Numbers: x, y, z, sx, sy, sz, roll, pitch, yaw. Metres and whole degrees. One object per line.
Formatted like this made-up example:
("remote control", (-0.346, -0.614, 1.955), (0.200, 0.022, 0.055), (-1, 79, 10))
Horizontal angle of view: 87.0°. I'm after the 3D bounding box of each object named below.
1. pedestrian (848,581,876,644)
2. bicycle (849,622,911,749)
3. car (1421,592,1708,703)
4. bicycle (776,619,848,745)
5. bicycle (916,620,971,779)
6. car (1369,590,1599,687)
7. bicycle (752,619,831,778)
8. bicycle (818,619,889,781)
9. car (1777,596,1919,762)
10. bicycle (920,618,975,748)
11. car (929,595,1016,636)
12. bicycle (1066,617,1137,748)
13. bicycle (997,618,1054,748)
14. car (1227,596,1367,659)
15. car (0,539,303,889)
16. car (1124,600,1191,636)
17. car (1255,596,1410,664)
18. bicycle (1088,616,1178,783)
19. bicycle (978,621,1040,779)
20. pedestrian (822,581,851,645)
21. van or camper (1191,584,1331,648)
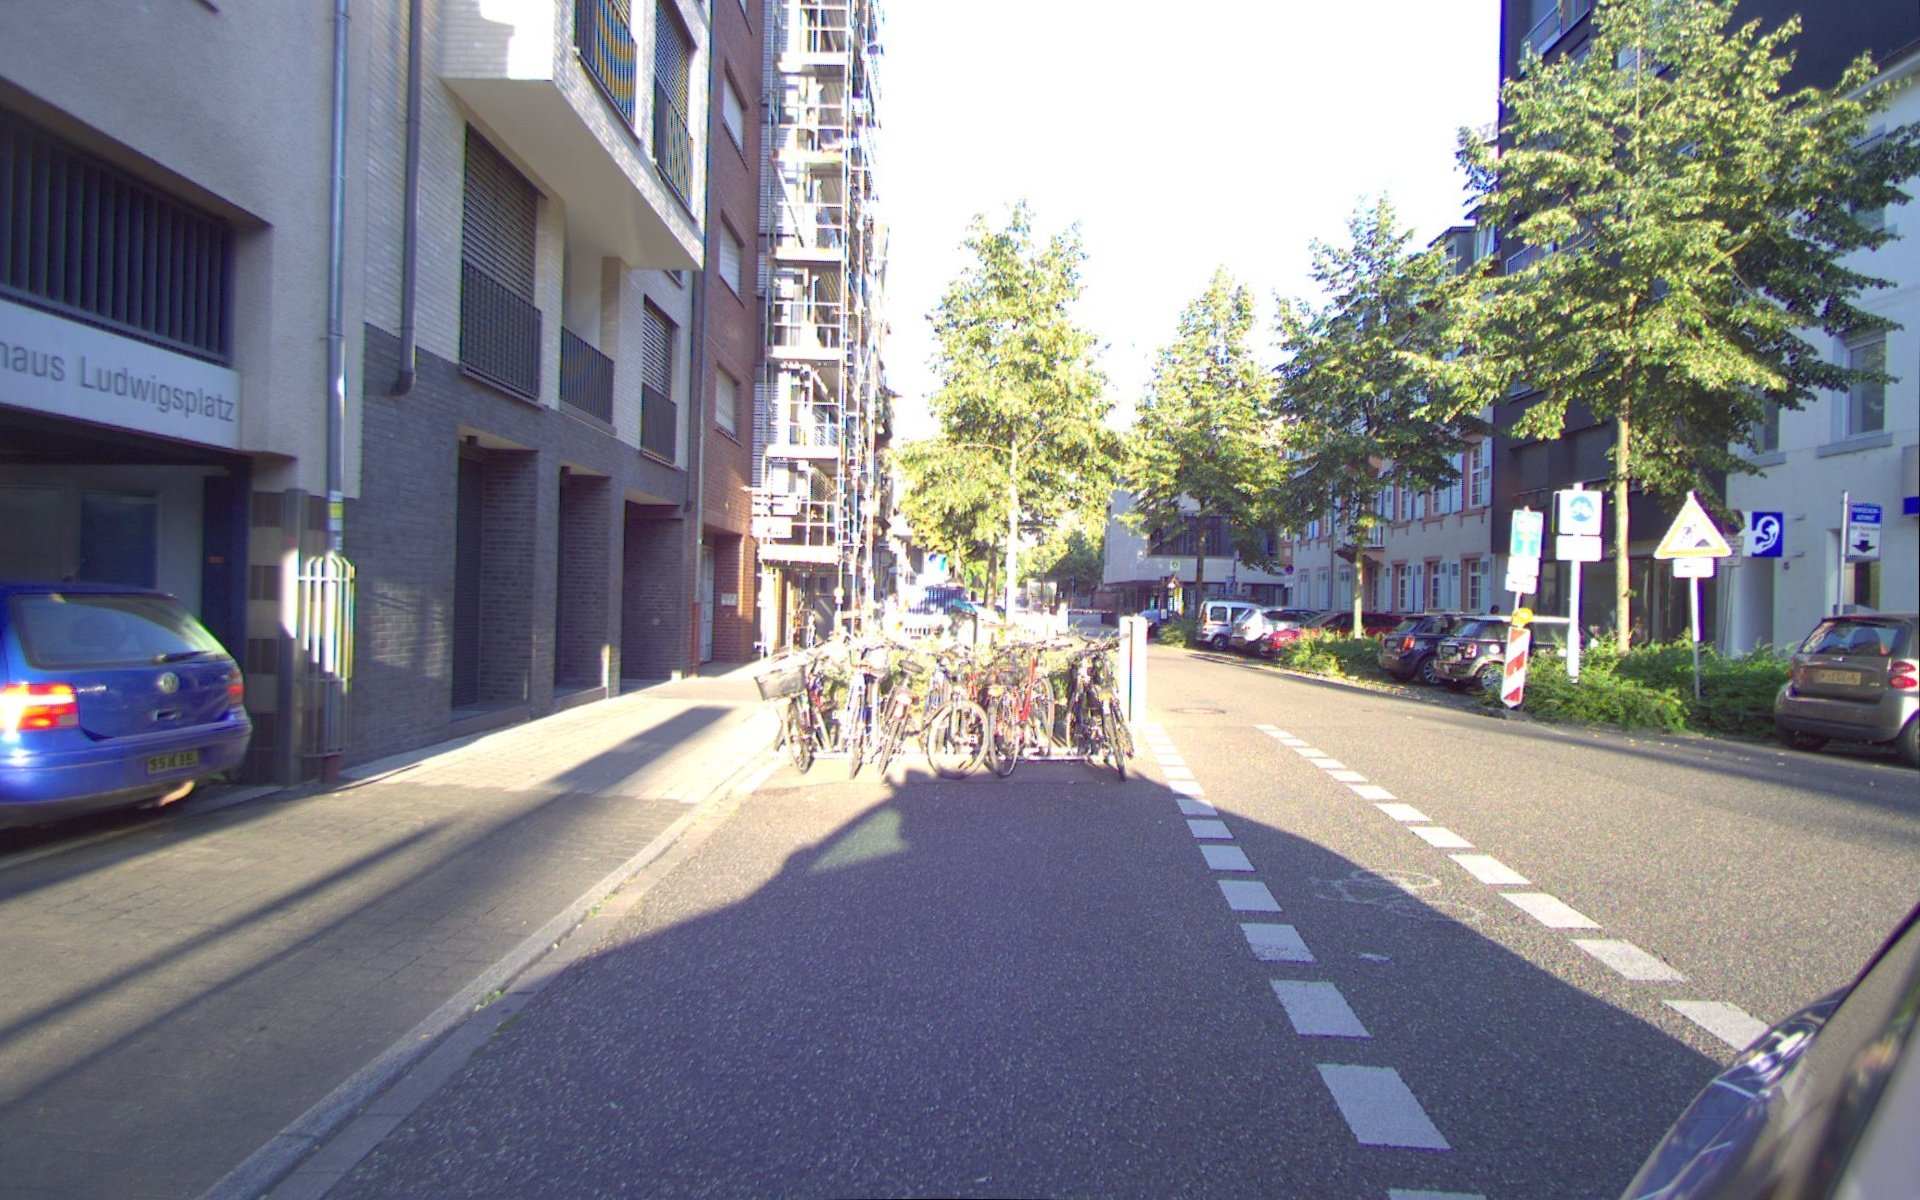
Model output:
("pedestrian", (-2.878, 0.358, 29.847), (0.729, 1.806, 0.656), (1, 0, 0))
("bicycle", (-0.796, 0.827, 10.358), (0.460, 1.158, 1.551), (2, 0, 1))
("car", (10.686, 0.805, 18.110), (3.932, 1.691, 1.858), (3, 0, -1))
("bicycle", (-1.486, 0.784, 10.325), (0.450, 1.146, 1.551), (2, 0, 1))
("bicycle", (-0.118, 0.773, 8.520), (0.375, 1.174, 1.551), (2, 0, 1))
("car", (10.540, 0.746, 20.560), (3.626, 1.691, 1.858), (3, 0, -1))
("bicycle", (-1.403, 0.784, 8.592), (0.381, 1.198, 1.405), (2, 0, 1))
("bicycle", (-0.870, 0.784, 8.554), (0.380, 1.204, 1.551), (2, 0, 1))
("car", (10.873, 0.813, 10.585), (3.414, 1.595, 1.508), (2, 0, -1))
("bicycle", (-0.109, 0.789, 10.226), (0.479, 1.164, 1.551), (2, 0, 1))
("car", (0.607, 0.698, 47.091), (3.928, 1.705, 1.889), (2, 0, 4))
("bicycle", (1.414, 0.793, 10.332), (0.499, 1.193, 1.551), (2, 0, 1))
("bicycle", (0.647, 0.797, 10.342), (0.479, 1.178, 1.551), (2, 0, 1))
("car", (10.382, 0.821, 31.390), (3.626, 1.691, 1.858), (3, 0, -1))
("car", (-6.167, 0.407, 5.490), (4.041, 1.583, 1.694), (3, 0, 0))
("car", (9.565, 0.899, 48.820), (1.846, 1.588, 3.651), (3, 0, 34))
("car", (10.539, 0.824, 28.792), (3.626, 1.691, 1.858), (3, 0, -1))
("bicycle", (1.430, 0.777, 8.558), (0.489, 1.236, 1.551), (2, 0, 1))
("bicycle", (0.440, 0.786, 8.570), (0.411, 1.171, 1.549), (2, 0, 6))
("pedestrian", (-3.573, 0.373, 29.267), (0.730, 1.806, 0.656), (1, 0, 1))
("van or camper", (10.792, 0.570, 36.510), (4.369, 2.031, 1.858), (3, 0, -1))
